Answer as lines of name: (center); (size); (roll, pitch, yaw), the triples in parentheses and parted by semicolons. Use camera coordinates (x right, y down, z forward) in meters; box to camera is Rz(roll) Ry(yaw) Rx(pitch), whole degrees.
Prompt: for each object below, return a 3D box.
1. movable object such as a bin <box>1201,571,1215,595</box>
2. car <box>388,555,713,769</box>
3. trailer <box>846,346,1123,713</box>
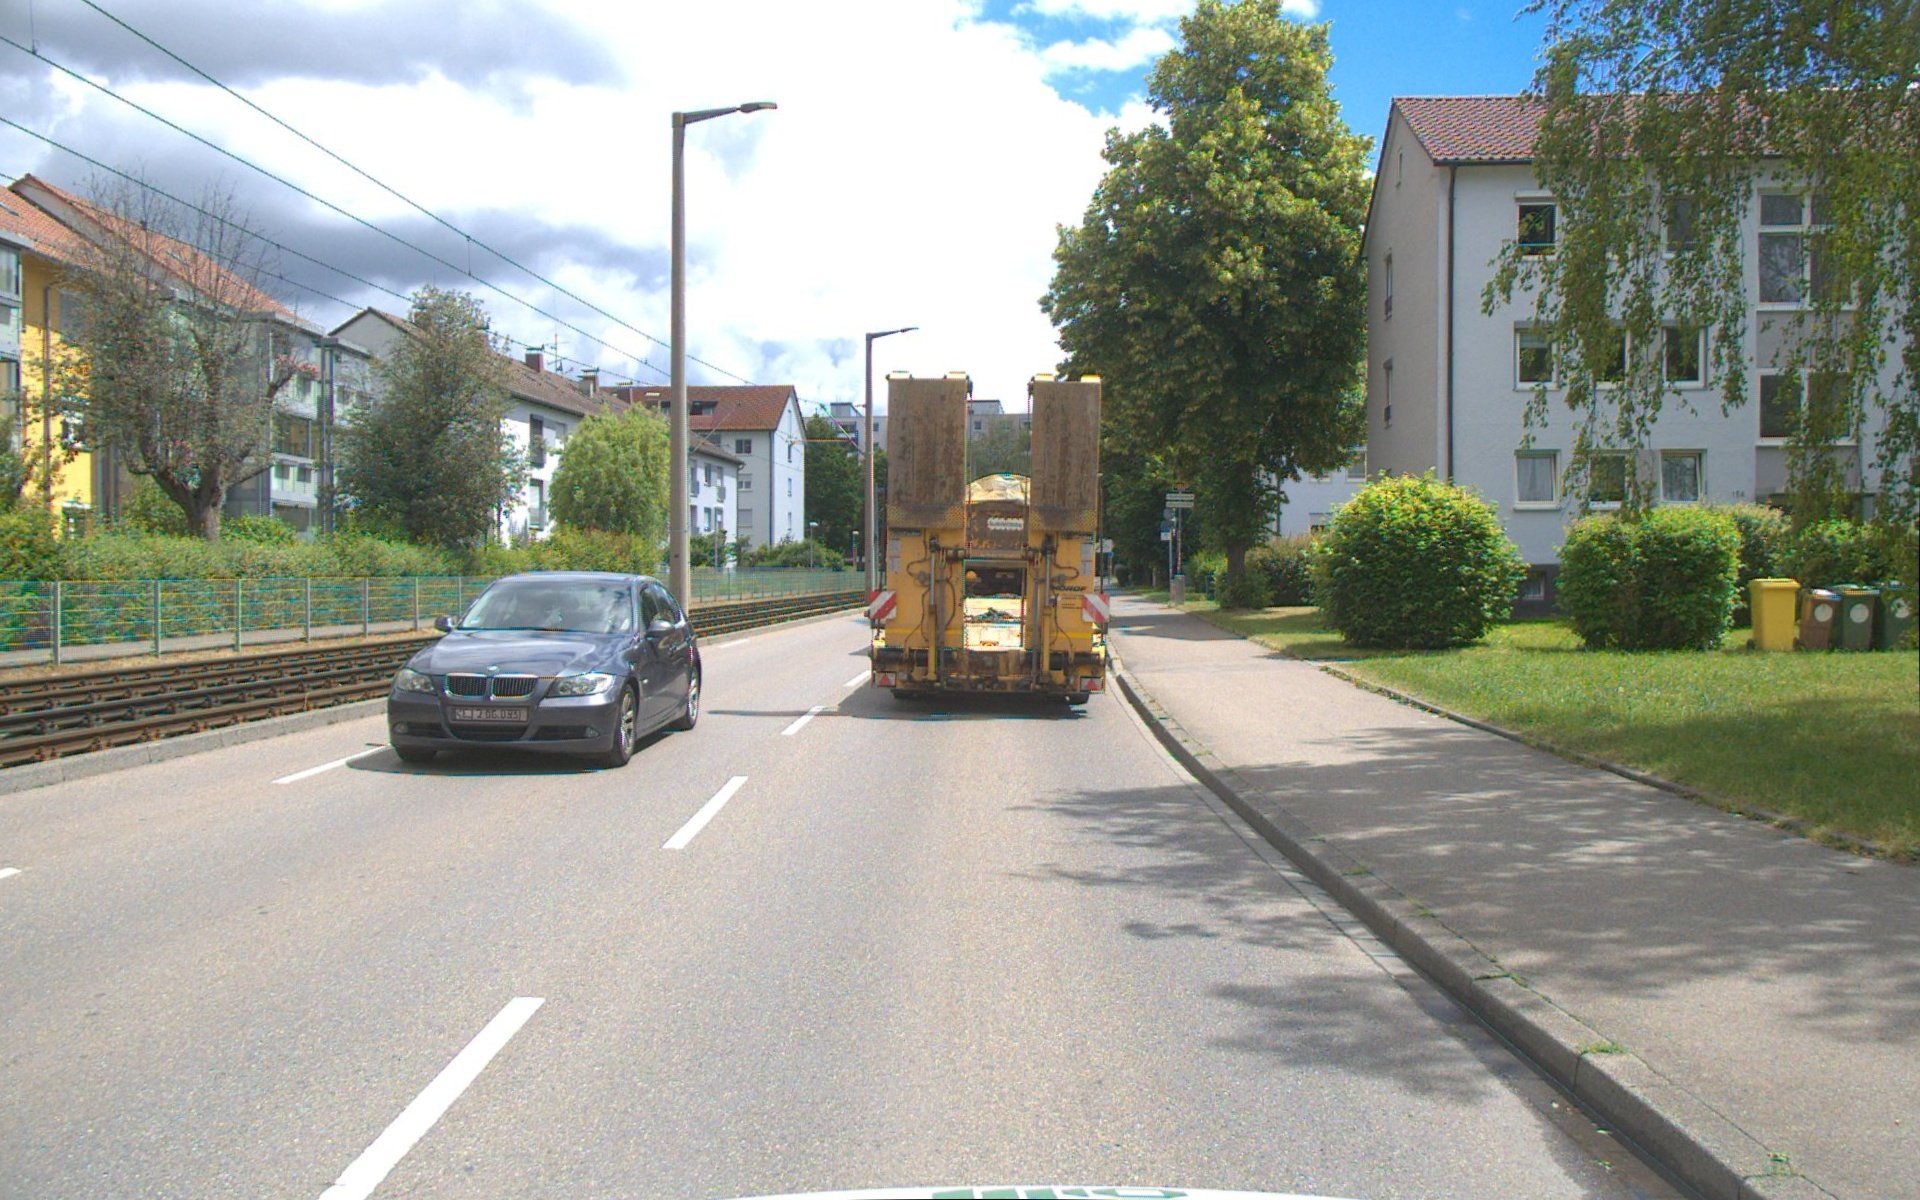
movable object such as a bin: (10.083, -0.701, 67.202); (0.485, 0.971, 0.580); (-1, 1, 4)
car: (-3.166, 0.387, 13.600); (1.595, 1.457, 4.167); (1, 1, 0)
trailer: (0.229, -0.829, 23.260); (2.769, 3.709, 12.354); (2, 1, 0)
